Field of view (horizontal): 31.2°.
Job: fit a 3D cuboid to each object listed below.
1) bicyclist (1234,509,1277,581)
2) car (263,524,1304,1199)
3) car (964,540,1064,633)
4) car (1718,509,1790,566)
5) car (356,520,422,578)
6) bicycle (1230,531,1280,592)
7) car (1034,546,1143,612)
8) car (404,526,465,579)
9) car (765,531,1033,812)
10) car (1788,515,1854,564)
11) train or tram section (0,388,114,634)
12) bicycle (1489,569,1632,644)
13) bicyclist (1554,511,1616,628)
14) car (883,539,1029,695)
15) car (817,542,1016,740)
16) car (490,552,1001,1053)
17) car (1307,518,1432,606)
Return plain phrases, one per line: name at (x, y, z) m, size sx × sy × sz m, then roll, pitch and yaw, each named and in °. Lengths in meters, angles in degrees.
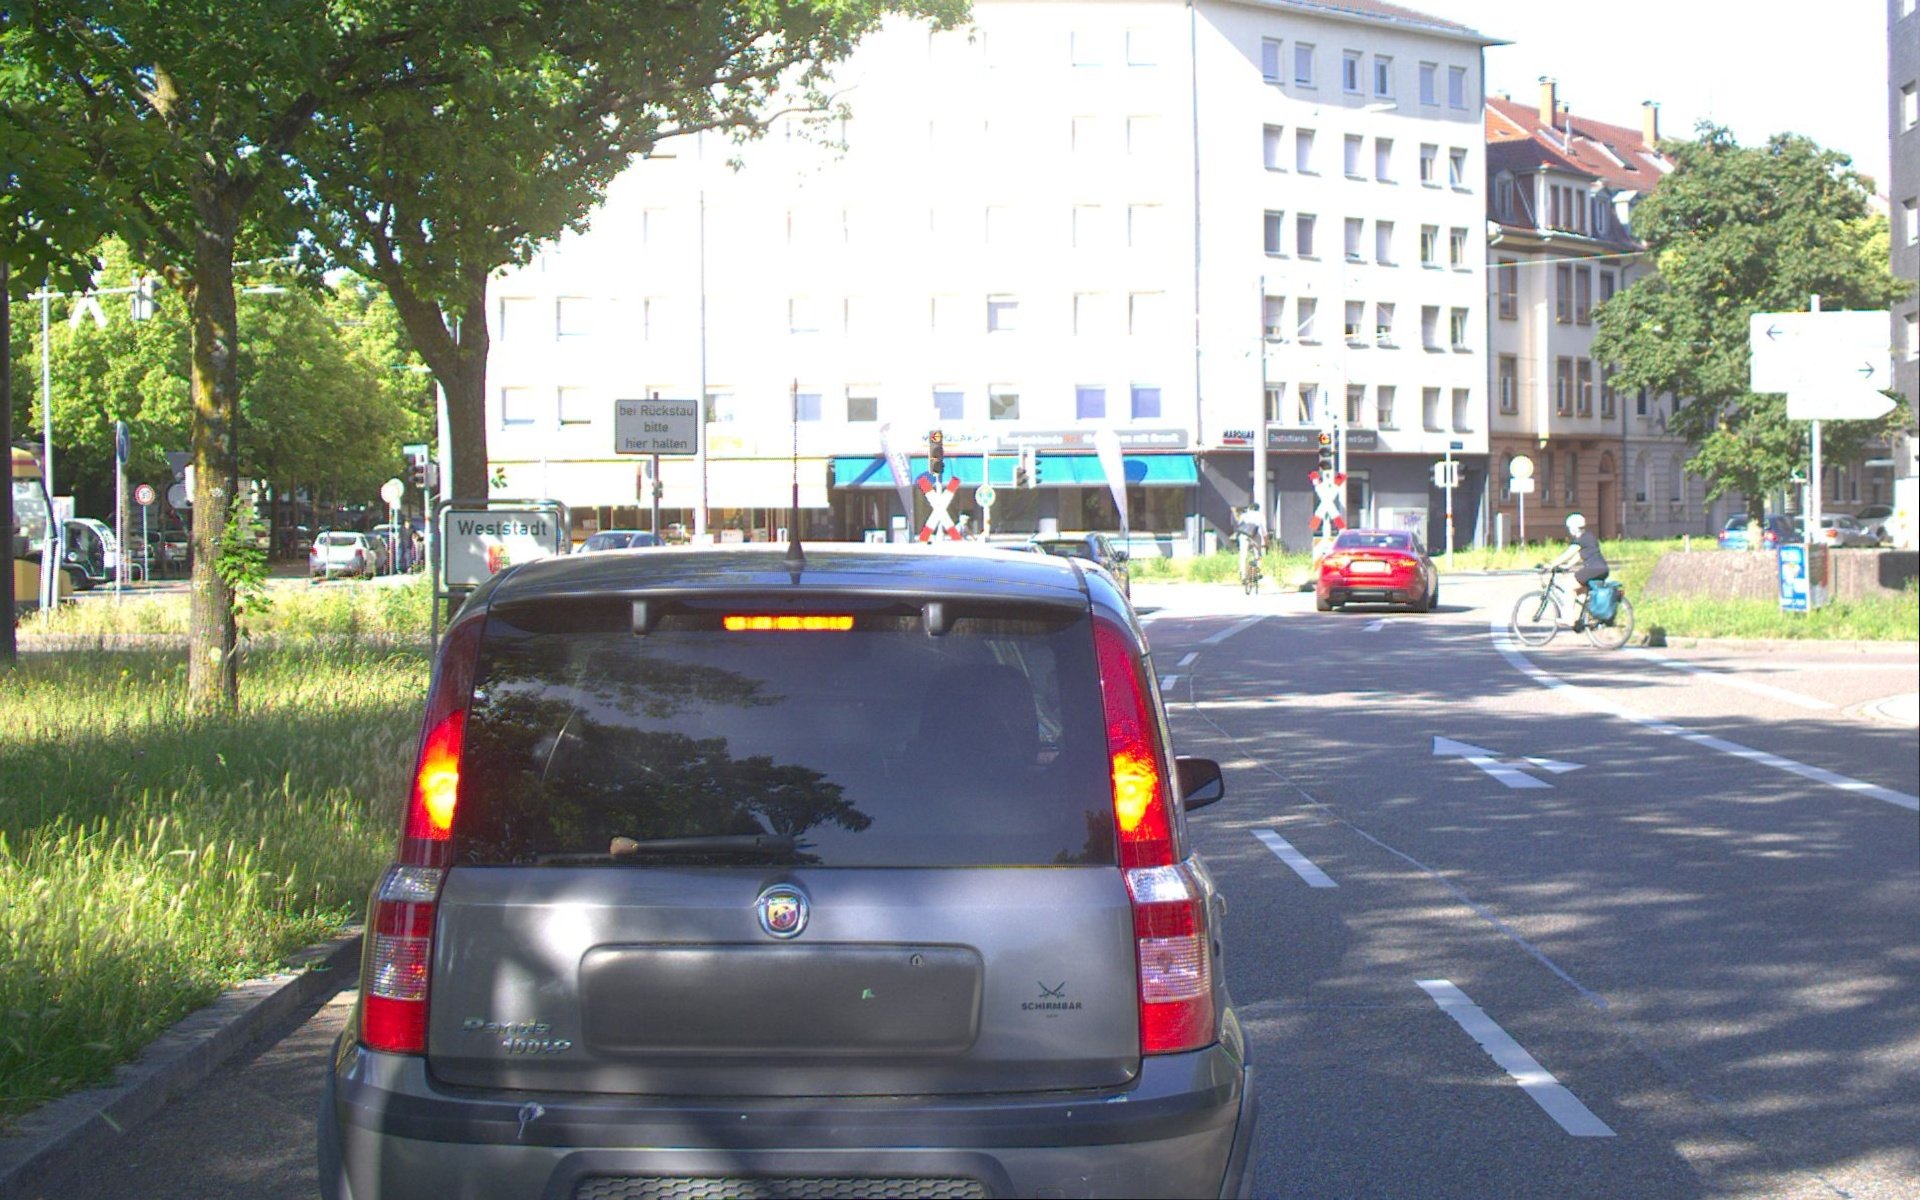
bicyclist at (5.929, -1.097, 69.004) m, size 0.741 × 1.433 × 0.845 m, roll 1°, pitch 0°, yaw -1°
car at (-0.296, 0.601, 7.417) m, size 1.628 × 1.503 × 4.000 m, roll -1°, pitch 1°, yaw -1°
car at (0.752, -0.215, 49.600) m, size 1.356 × 1.277 × 2.876 m, roll 0°, pitch 1°, yaw -1°
car at (20.884, -1.652, 90.388) m, size 1.683 × 1.444 × 3.569 m, roll 0°, pitch 1°, yaw 15°
car at (-20.512, -1.851, 123.581) m, size 1.993 × 2.007 × 4.001 m, roll -1°, pitch 1°, yaw -4°
bicycle at (5.907, -0.763, 69.024) m, size 0.708 × 1.194 × 2.520 m, roll 1°, pitch 1°, yaw -2°
car at (2.174, -0.362, 57.668) m, size 1.143 × 1.060 × 2.719 m, roll 0°, pitch 1°, yaw 17°
car at (-20.361, -1.858, 133.301) m, size 1.993 × 2.007 × 4.001 m, roll -1°, pitch 1°, yaw -4°
car at (-0.357, 0.360, 20.678) m, size 1.463 × 1.503 × 3.505 m, roll 0°, pitch 2°, yaw -1°
car at (23.560, -1.656, 94.016) m, size 1.528 × 1.310 × 3.285 m, roll 0°, pitch 1°, yaw 18°
train or tram section at (-22.251, -1.187, 48.391) m, size 20.749 × 3.757 × 3.305 m, roll -2°, pitch 2°, yaw -40°
bicycle at (7.788, 0.071, 44.621) m, size 1.794 × 0.942 × 0.559 m, roll 1°, pitch 2°, yaw 42°
bicyclist at (8.066, -0.398, 44.370) m, size 0.585 × 1.488 × 0.549 m, roll 1°, pitch 2°, yaw 42°
car at (-0.057, 0.128, 33.861) m, size 1.356 × 1.444 × 3.266 m, roll -1°, pitch 1°, yaw -1°
car at (-0.342, 0.274, 27.245) m, size 1.463 × 1.420 × 3.381 m, roll 0°, pitch 2°, yaw -1°
car at (-0.639, 0.563, 11.638) m, size 1.463 × 1.396 × 3.393 m, roll 0°, pitch 1°, yaw -1°
car at (7.015, -0.685, 59.234) m, size 1.887 × 1.423 × 4.386 m, roll 0°, pitch 2°, yaw 4°
